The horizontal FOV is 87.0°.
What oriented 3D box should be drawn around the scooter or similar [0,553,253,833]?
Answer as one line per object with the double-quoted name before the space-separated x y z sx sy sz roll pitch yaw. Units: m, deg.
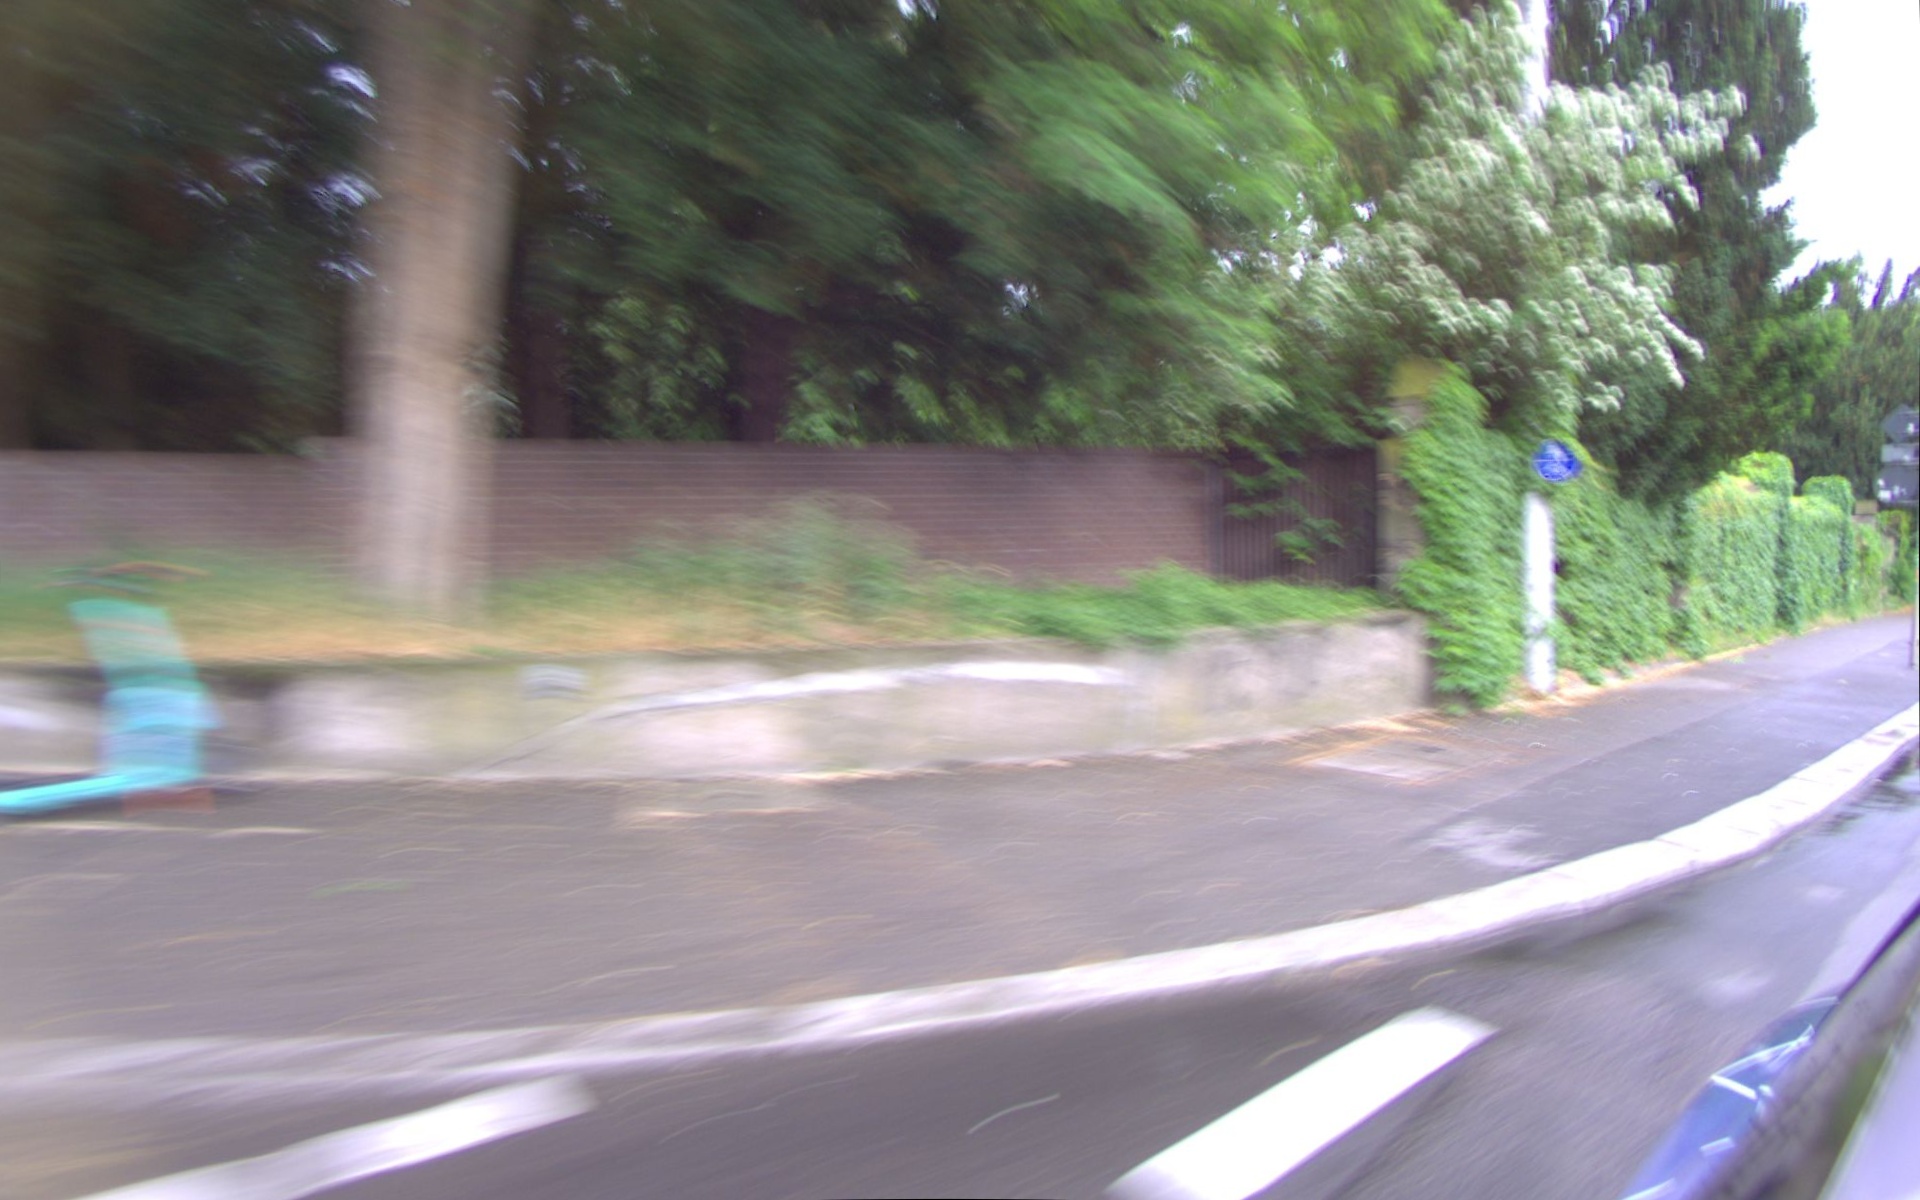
"scooter or similar" -4.258 0.409 4.936 1.289 1.245 0.516 -2 6 -35
